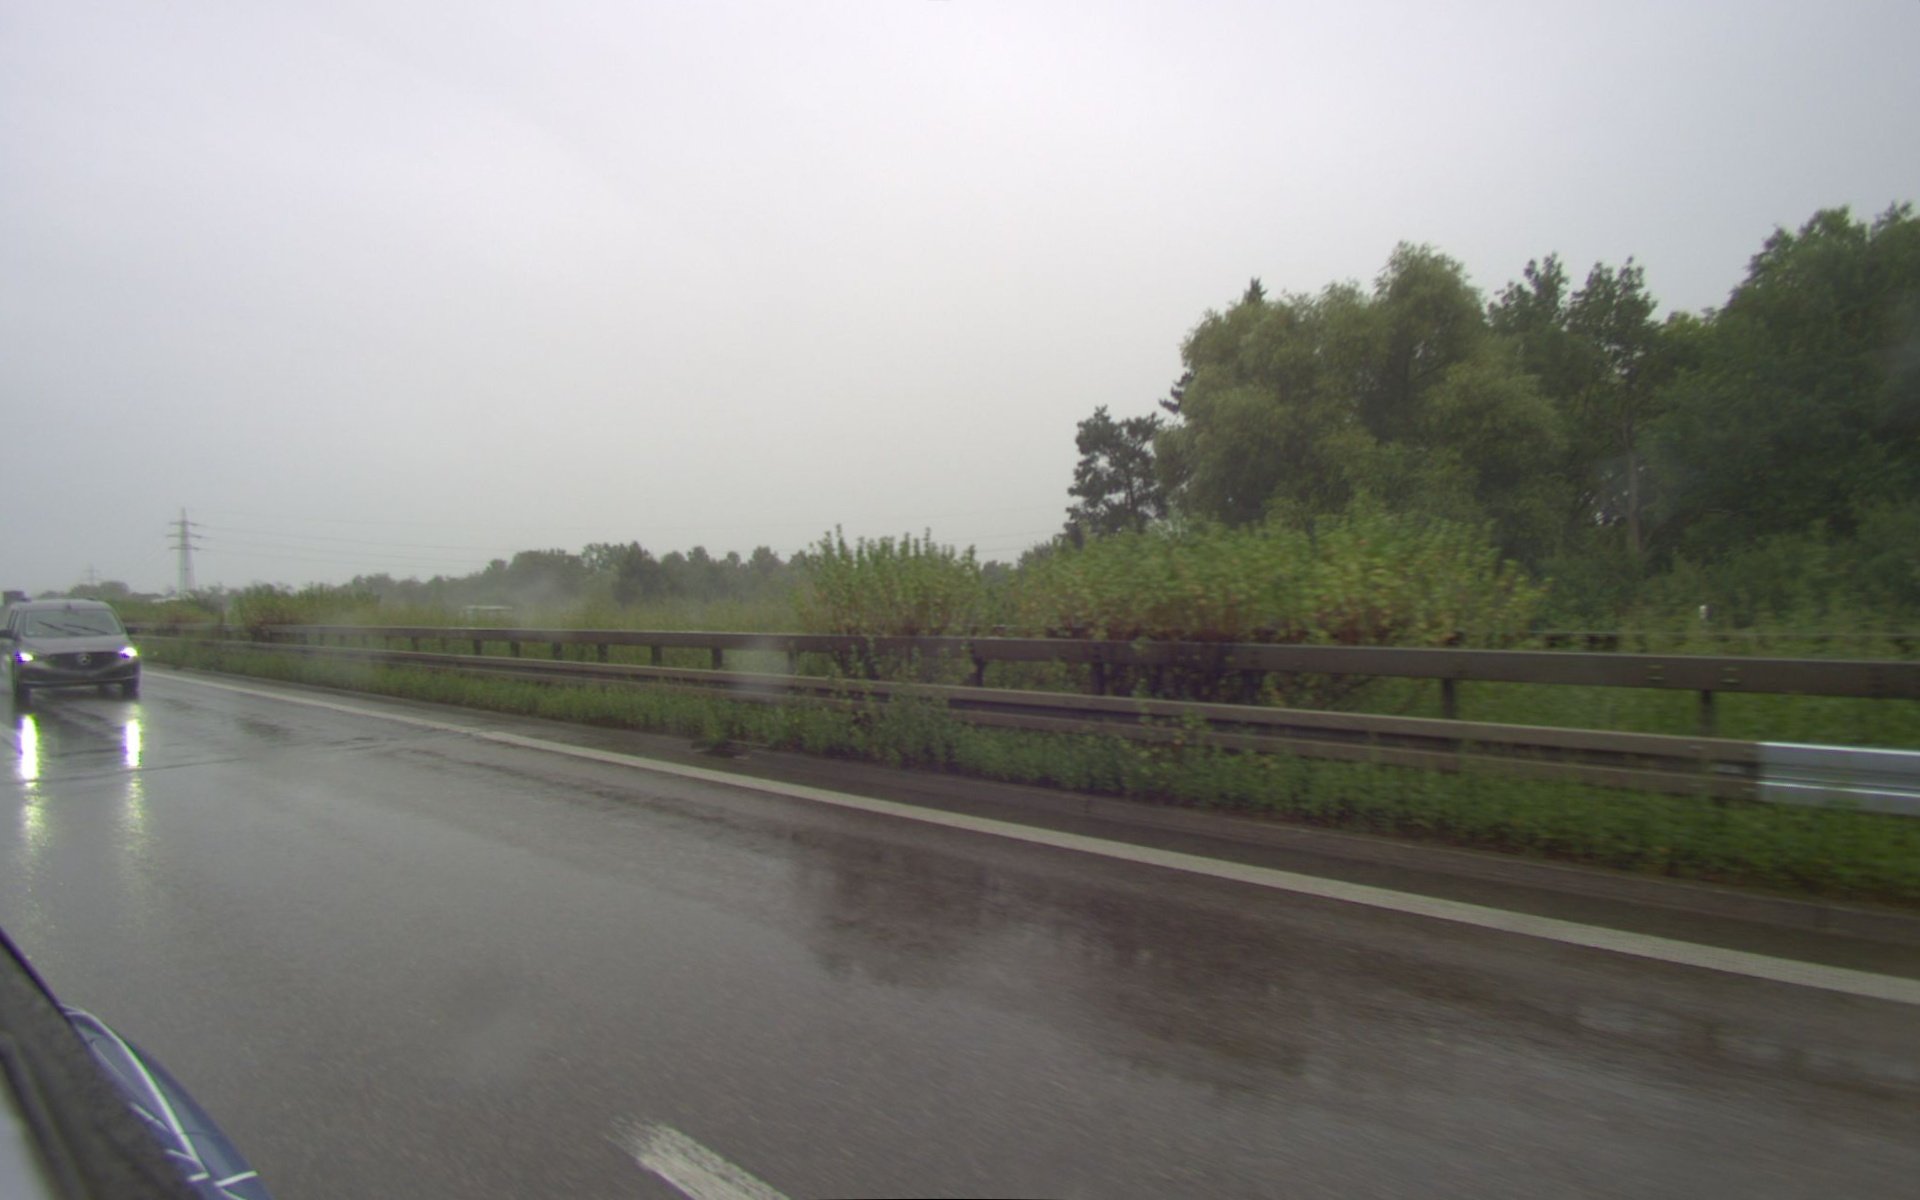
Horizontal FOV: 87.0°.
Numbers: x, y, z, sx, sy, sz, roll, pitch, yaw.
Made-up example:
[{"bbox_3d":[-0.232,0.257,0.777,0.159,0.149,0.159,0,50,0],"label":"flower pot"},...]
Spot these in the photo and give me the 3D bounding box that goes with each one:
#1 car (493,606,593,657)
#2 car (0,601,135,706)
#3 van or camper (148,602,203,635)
[{"bbox_3d":[-15.080,1.118,36.514,3.846,1.696,1.814,-1,0,41],"label":"car"},{"bbox_3d":[-17.478,0.963,19.530,2.018,1.787,4.503,0,-1,-45],"label":"car"},{"bbox_3d":[-78.946,1.857,101.767,9.513,3.109,2.856,-2,0,43],"label":"van or camper"}]
